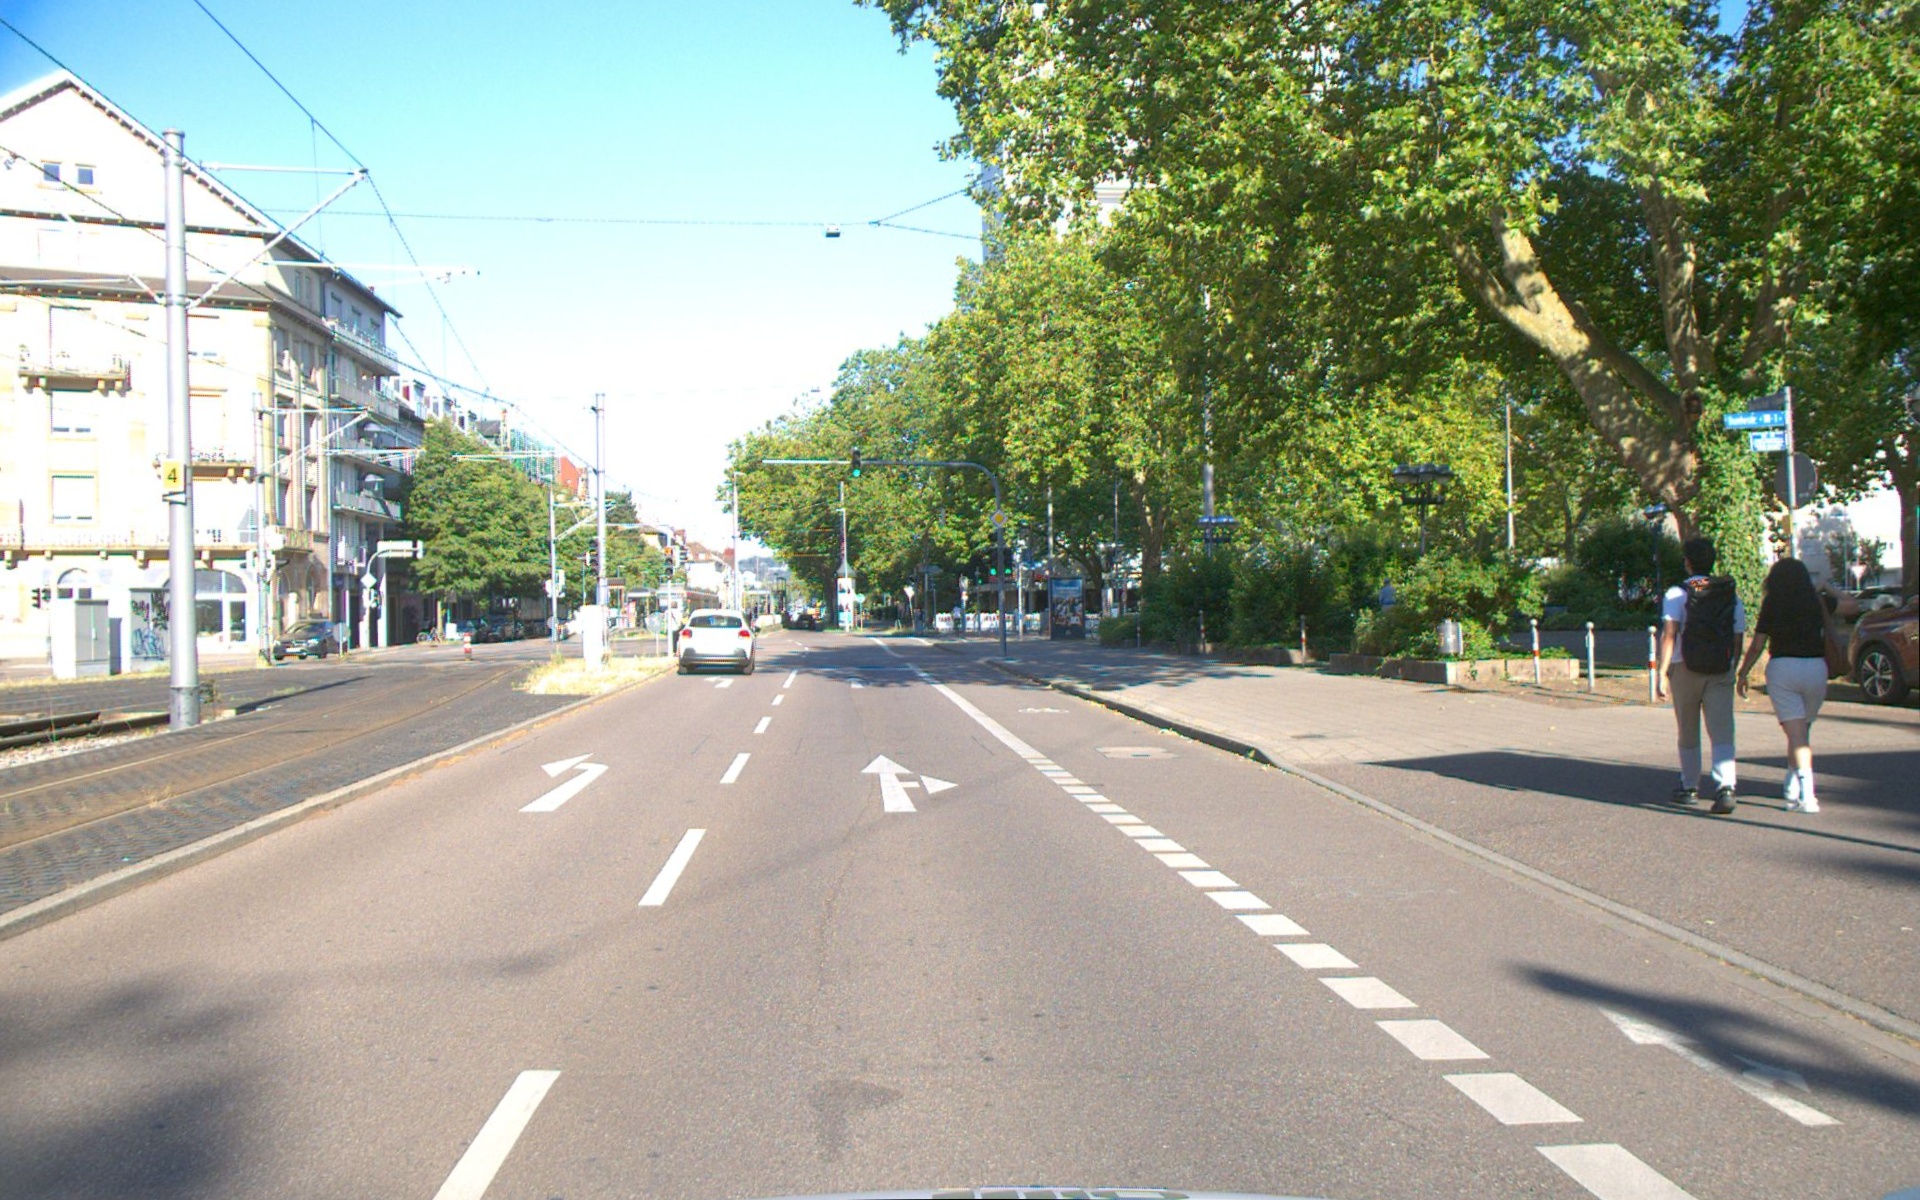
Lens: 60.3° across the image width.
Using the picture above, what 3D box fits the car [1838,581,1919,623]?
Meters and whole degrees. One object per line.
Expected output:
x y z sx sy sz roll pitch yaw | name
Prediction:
40.156 0.075 71.048 3.814 1.713 1.997 -2 0 -6 | car

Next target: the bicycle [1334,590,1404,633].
12.489 0.345 50.491 2.290 1.262 0.451 1 0 -26 | bicycle

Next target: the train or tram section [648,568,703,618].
-20.907 -0.490 121.975 2.894 3.470 10.781 1 0 -4 | train or tram section

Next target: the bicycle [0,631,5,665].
-38.229 1.904 64.619 0.807 1.305 2.556 1 0 -13 | bicycle

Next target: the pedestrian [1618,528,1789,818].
4.920 0.464 10.991 0.591 1.807 0.879 -5 0 -1 | pedestrian

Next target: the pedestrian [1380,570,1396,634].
12.941 0.064 50.007 0.383 1.898 0.339 1 0 9 | pedestrian

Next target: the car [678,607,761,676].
-5.598 0.931 38.826 1.711 1.487 3.640 1 0 -6 | car

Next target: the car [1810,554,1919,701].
11.657 0.298 18.181 1.783 1.630 4.655 -1 1 -7 | car

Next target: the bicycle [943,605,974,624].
-0.097 0.764 86.769 1.177 0.951 2.567 1 0 -10 | bicycle

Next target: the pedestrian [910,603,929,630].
-2.174 0.865 88.428 0.646 1.412 0.831 1 0 27 | pedestrian

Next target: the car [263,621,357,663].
-24.916 1.579 63.587 1.954 1.474 4.836 -1 0 -4 | car

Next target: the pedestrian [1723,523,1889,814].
5.552 0.436 10.885 0.591 1.807 0.690 -5 0 -1 | pedestrian

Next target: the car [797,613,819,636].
-14.299 2.285 155.892 1.954 2.049 3.996 1 0 -4 | car

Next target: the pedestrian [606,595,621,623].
-23.394 0.610 111.794 0.945 1.865 0.987 1 0 -11 | pedestrian
